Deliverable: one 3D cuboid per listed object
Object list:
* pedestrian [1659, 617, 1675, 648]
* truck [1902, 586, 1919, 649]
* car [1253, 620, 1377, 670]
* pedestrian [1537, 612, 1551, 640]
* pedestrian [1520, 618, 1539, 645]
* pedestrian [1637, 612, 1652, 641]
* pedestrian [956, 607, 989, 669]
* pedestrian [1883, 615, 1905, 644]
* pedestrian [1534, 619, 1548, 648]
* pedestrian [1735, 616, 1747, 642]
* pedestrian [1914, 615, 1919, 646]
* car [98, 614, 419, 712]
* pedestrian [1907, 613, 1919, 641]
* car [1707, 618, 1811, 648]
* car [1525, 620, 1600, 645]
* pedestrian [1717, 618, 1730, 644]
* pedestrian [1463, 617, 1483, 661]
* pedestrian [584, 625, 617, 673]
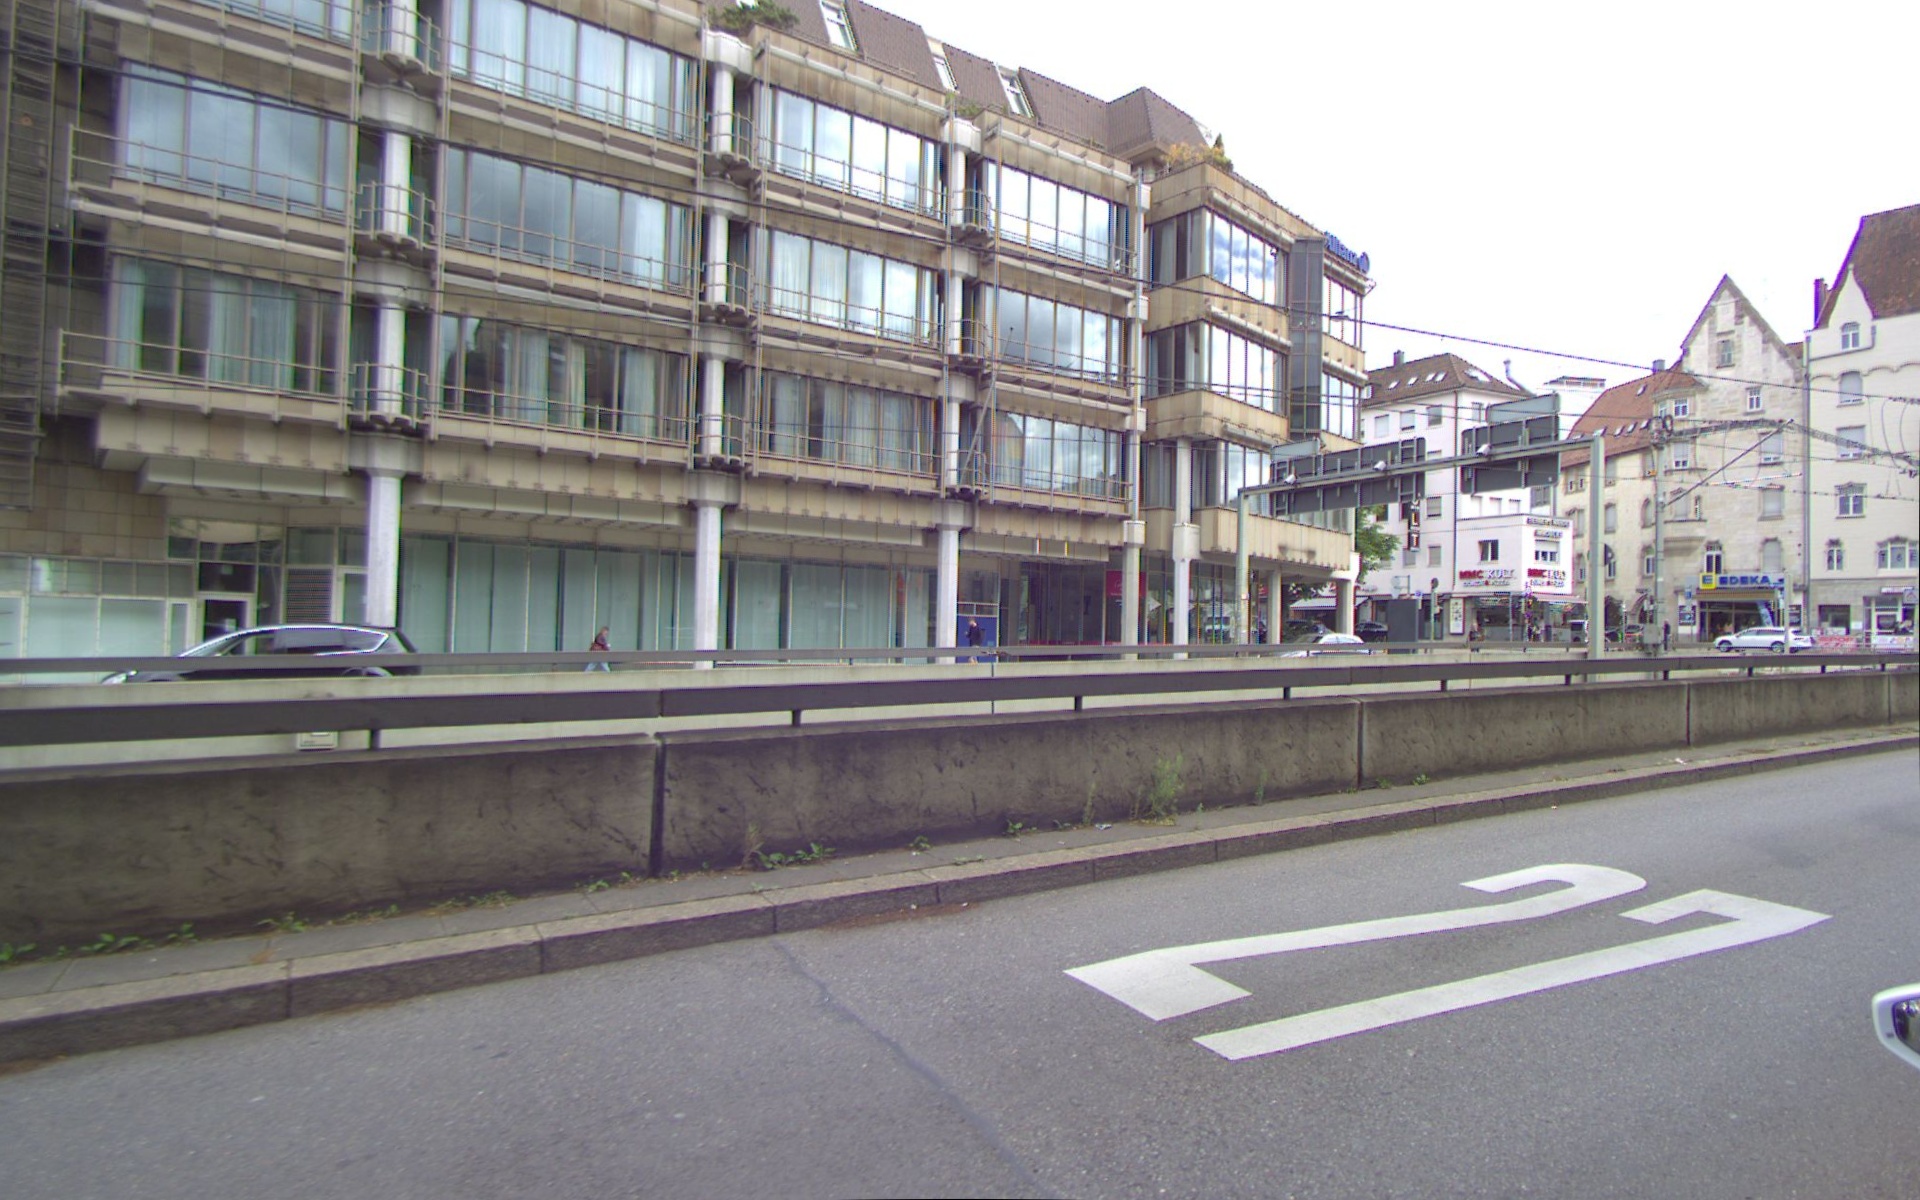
[{"bbox_3d":[41.842,1.920,59.435,0.567,1.803,0.510,1,0,-13],"label":"pedestrian"},{"bbox_3d":[51.376,0.941,50.825,7.259,3.117,2.264,1,0,-19],"label":"truck"},{"bbox_3d":[11.598,1.426,32.753,3.995,1.521,1.656,1,-1,-30],"label":"car"},{"bbox_3d":[37.919,1.697,65.265,0.588,1.803,0.510,1,0,-13],"label":"pedestrian"},{"bbox_3d":[35.957,1.993,63.431,0.643,1.728,0.781,1,0,-19],"label":"pedestrian"},{"bbox_3d":[41.703,1.610,61.224,0.501,1.803,0.577,1,0,1],"label":"pedestrian"},{"bbox_3d":[0.383,1.159,30.687,0.731,1.836,0.727,1,0,-31],"label":"pedestrian"},{"bbox_3d":[56.390,1.801,60.627,0.643,1.728,0.781,1,0,-19],"label":"pedestrian"},{"bbox_3d":[36.660,2.112,63.372,0.567,1.803,0.510,1,0,-13],"label":"pedestrian"},{"bbox_3d":[54.704,2.034,70.359,0.507,1.803,0.570,1,-1,-39],"label":"pedestrian"},{"bbox_3d":[55.434,1.756,57.801,0.504,1.803,0.574,1,0,-20],"label":"pedestrian"},{"bbox_3d":[-11.851,1.010,17.361,4.361,1.521,1.656,1,-1,-30],"label":"car"},{"bbox_3d":[54.663,1.536,57.432,0.505,1.603,0.573,1,0,-26],"label":"pedestrian"},{"bbox_3d":[46.813,1.899,58.970,1.734,1.581,4.478,1,0,-29],"label":"car"},{"bbox_3d":[42.078,2.246,70.264,1.726,1.581,4.499,1,0,-16],"label":"car"},{"bbox_3d":[53.403,2.195,70.285,0.565,1.803,0.512,0,0,15],"label":"pedestrian"},{"bbox_3d":[21.556,1.639,42.231,0.569,1.803,0.509,1,0,-23],"label":"pedestrian"},{"bbox_3d":[-10.010,1.362,27.952,0.731,1.282,0.727,1,0,-31],"label":"pedestrian"}]
